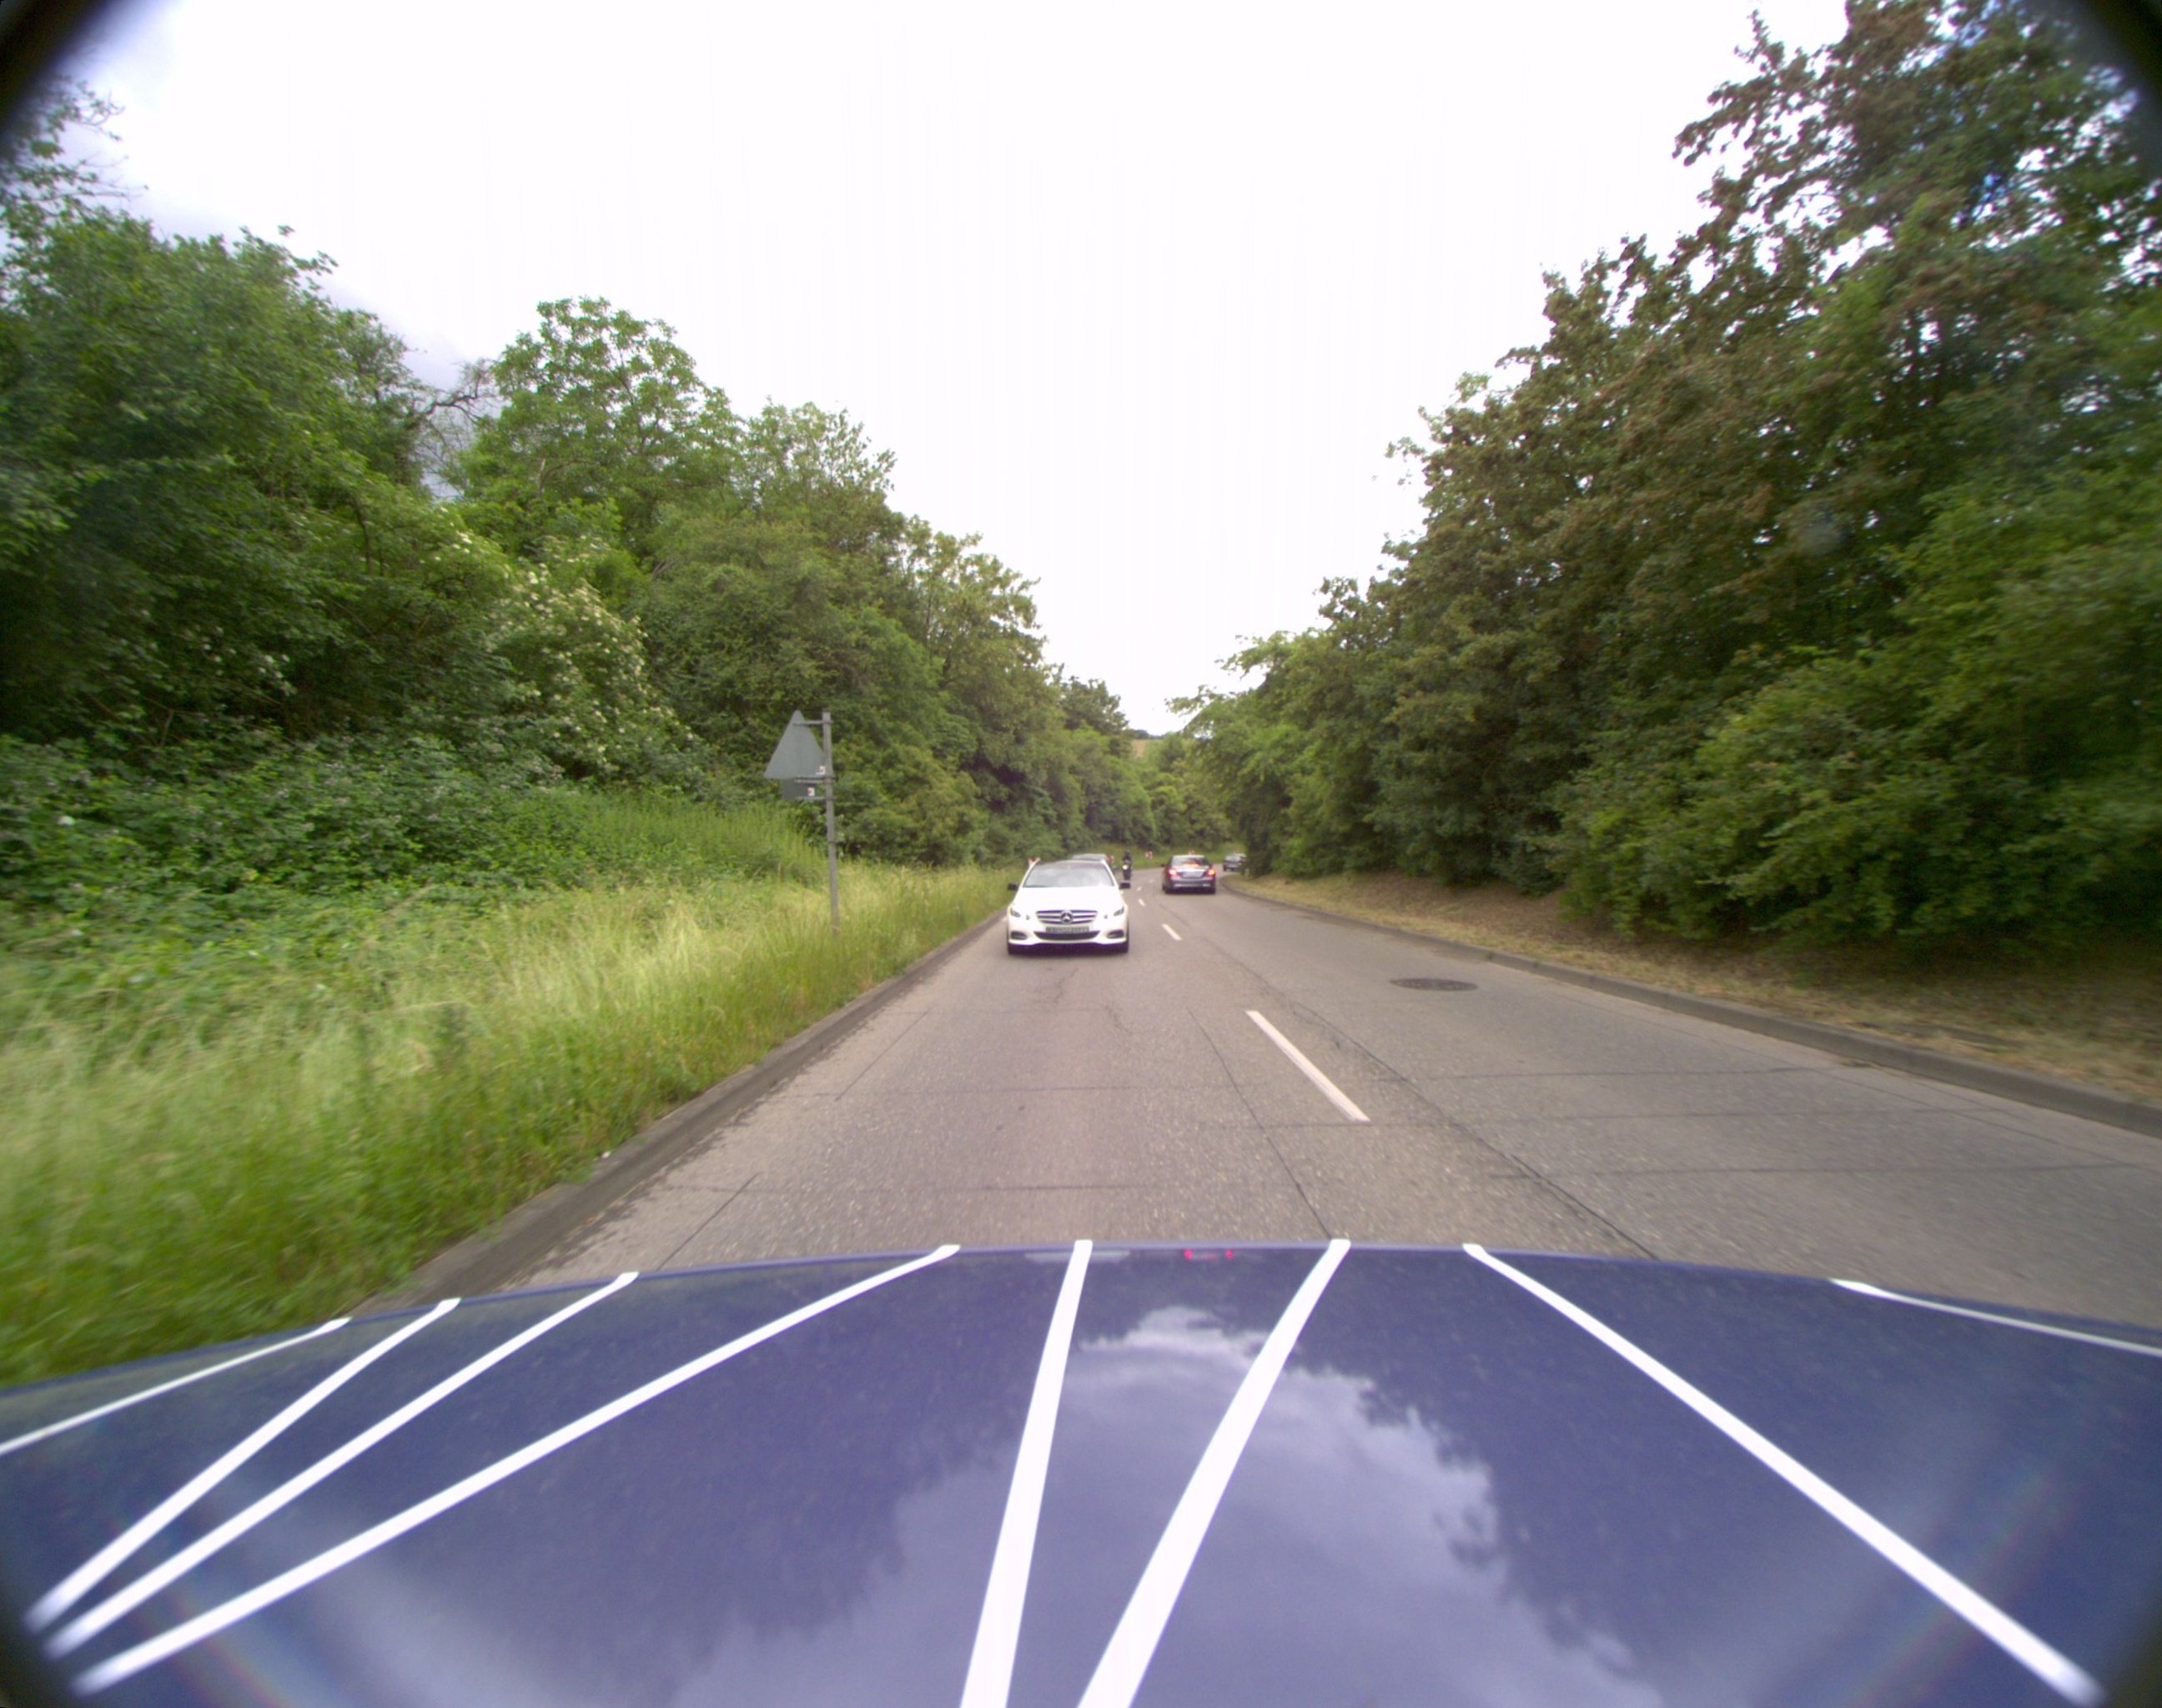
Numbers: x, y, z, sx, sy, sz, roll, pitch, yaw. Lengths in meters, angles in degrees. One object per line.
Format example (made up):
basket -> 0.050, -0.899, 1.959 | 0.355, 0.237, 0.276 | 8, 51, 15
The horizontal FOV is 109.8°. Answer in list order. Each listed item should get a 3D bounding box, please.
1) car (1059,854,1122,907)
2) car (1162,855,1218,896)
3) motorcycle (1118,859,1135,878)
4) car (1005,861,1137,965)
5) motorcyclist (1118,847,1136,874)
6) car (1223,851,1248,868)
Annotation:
car -> 0.386, 0.772, 24.077 | 1.822, 1.535, 3.726 | -1, 0, 3
car -> 4.115, 0.760, 29.260 | 1.835, 1.397, 4.433 | -2, 0, 5
motorcycle -> 2.535, 0.791, 42.198 | 0.702, 0.970, 1.693 | 2, 2, -4
car -> -0.166, 0.869, 12.951 | 1.887, 1.414, 3.999 | -1, 0, -1
motorcyclist -> 2.545, 0.354, 42.181 | 0.819, 1.457, 0.786 | 2, 2, -3
car -> 12.755, 0.432, 62.608 | 1.635, 1.397, 3.601 | -1, 0, 17
